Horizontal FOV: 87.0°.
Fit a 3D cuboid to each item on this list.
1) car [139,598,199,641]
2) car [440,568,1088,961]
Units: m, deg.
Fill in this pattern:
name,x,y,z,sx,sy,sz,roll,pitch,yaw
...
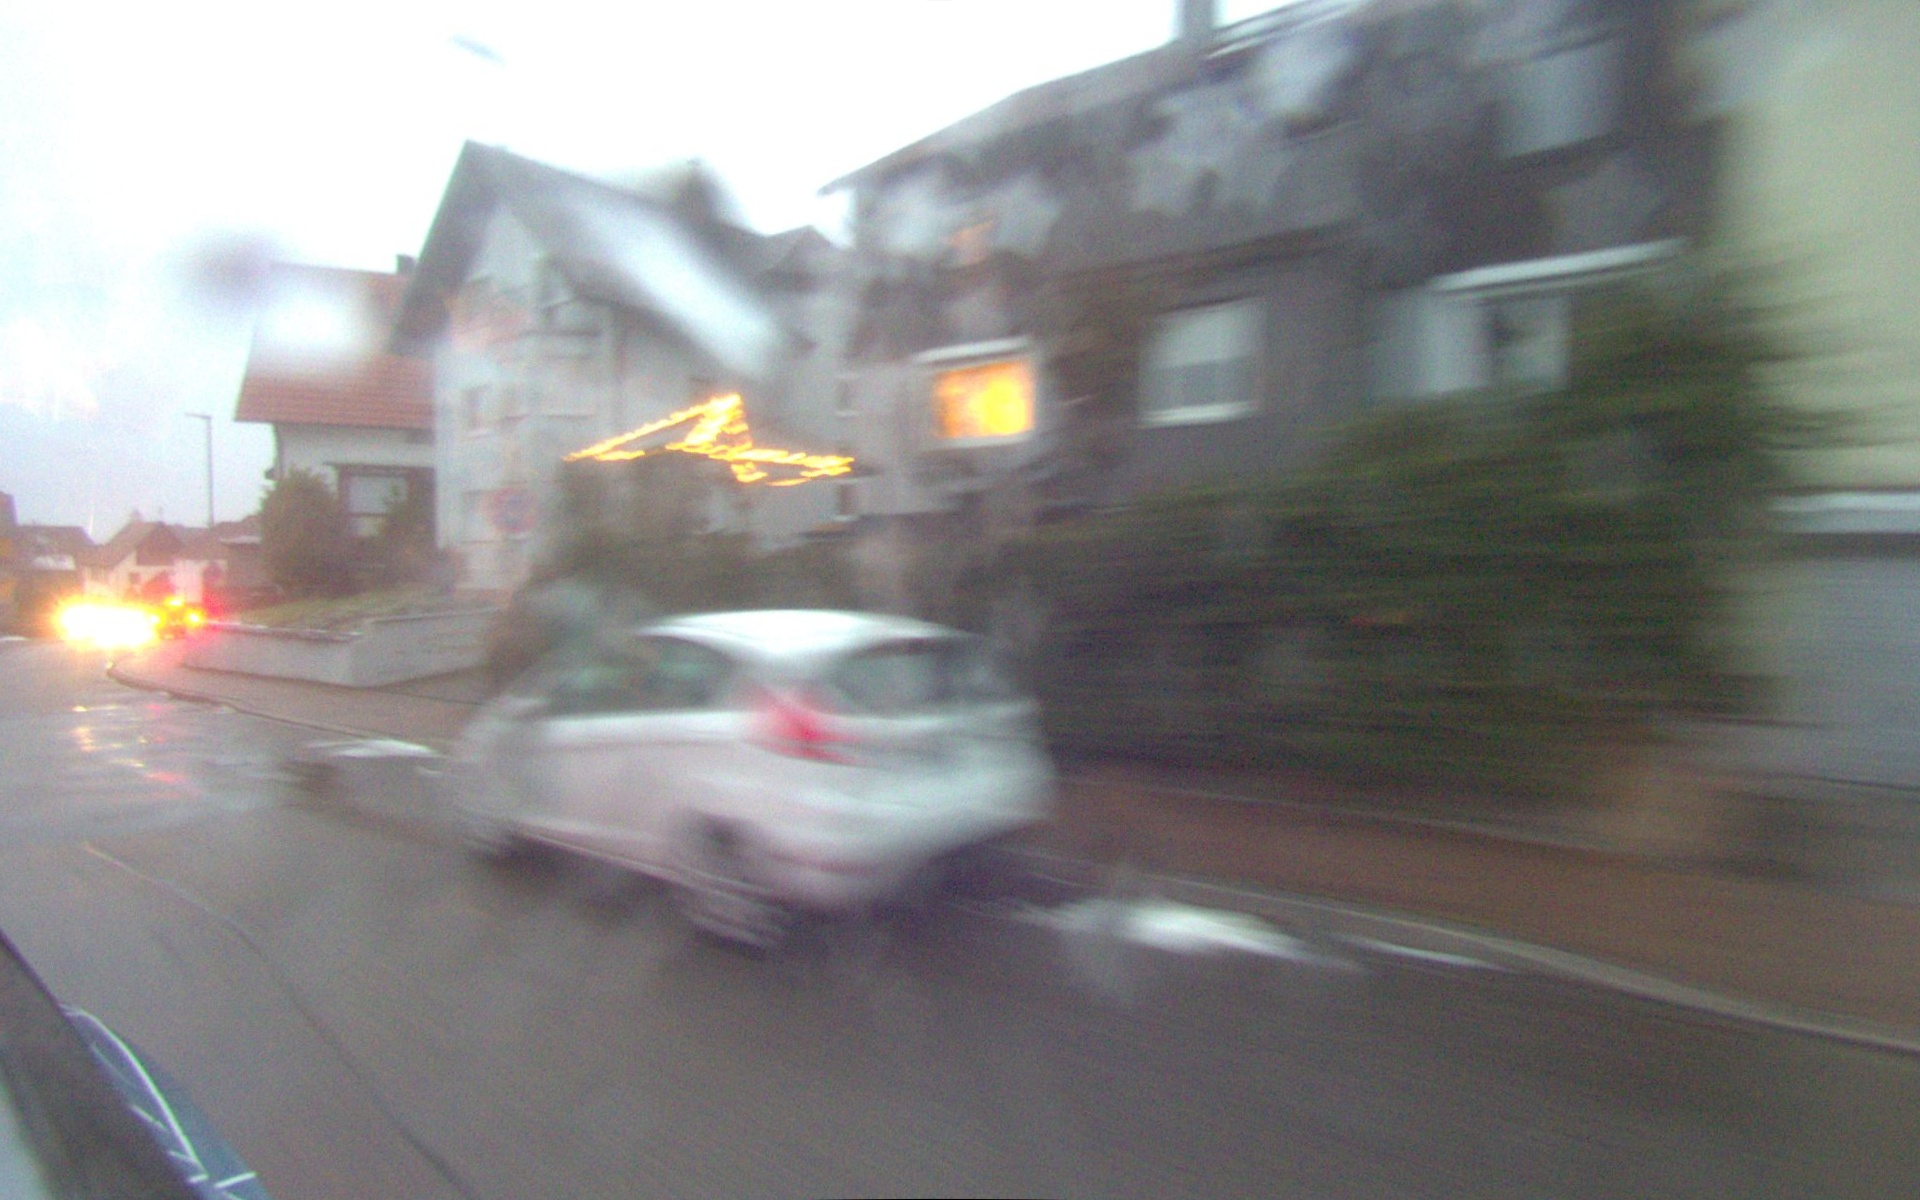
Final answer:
name,x,y,z,sx,sy,sz,roll,pitch,yaw
car,-39.477,0.920,50.622,2.082,2.042,4.995,0,0,-35
car,-1.269,0.615,5.554,3.655,1.449,1.601,0,0,41
